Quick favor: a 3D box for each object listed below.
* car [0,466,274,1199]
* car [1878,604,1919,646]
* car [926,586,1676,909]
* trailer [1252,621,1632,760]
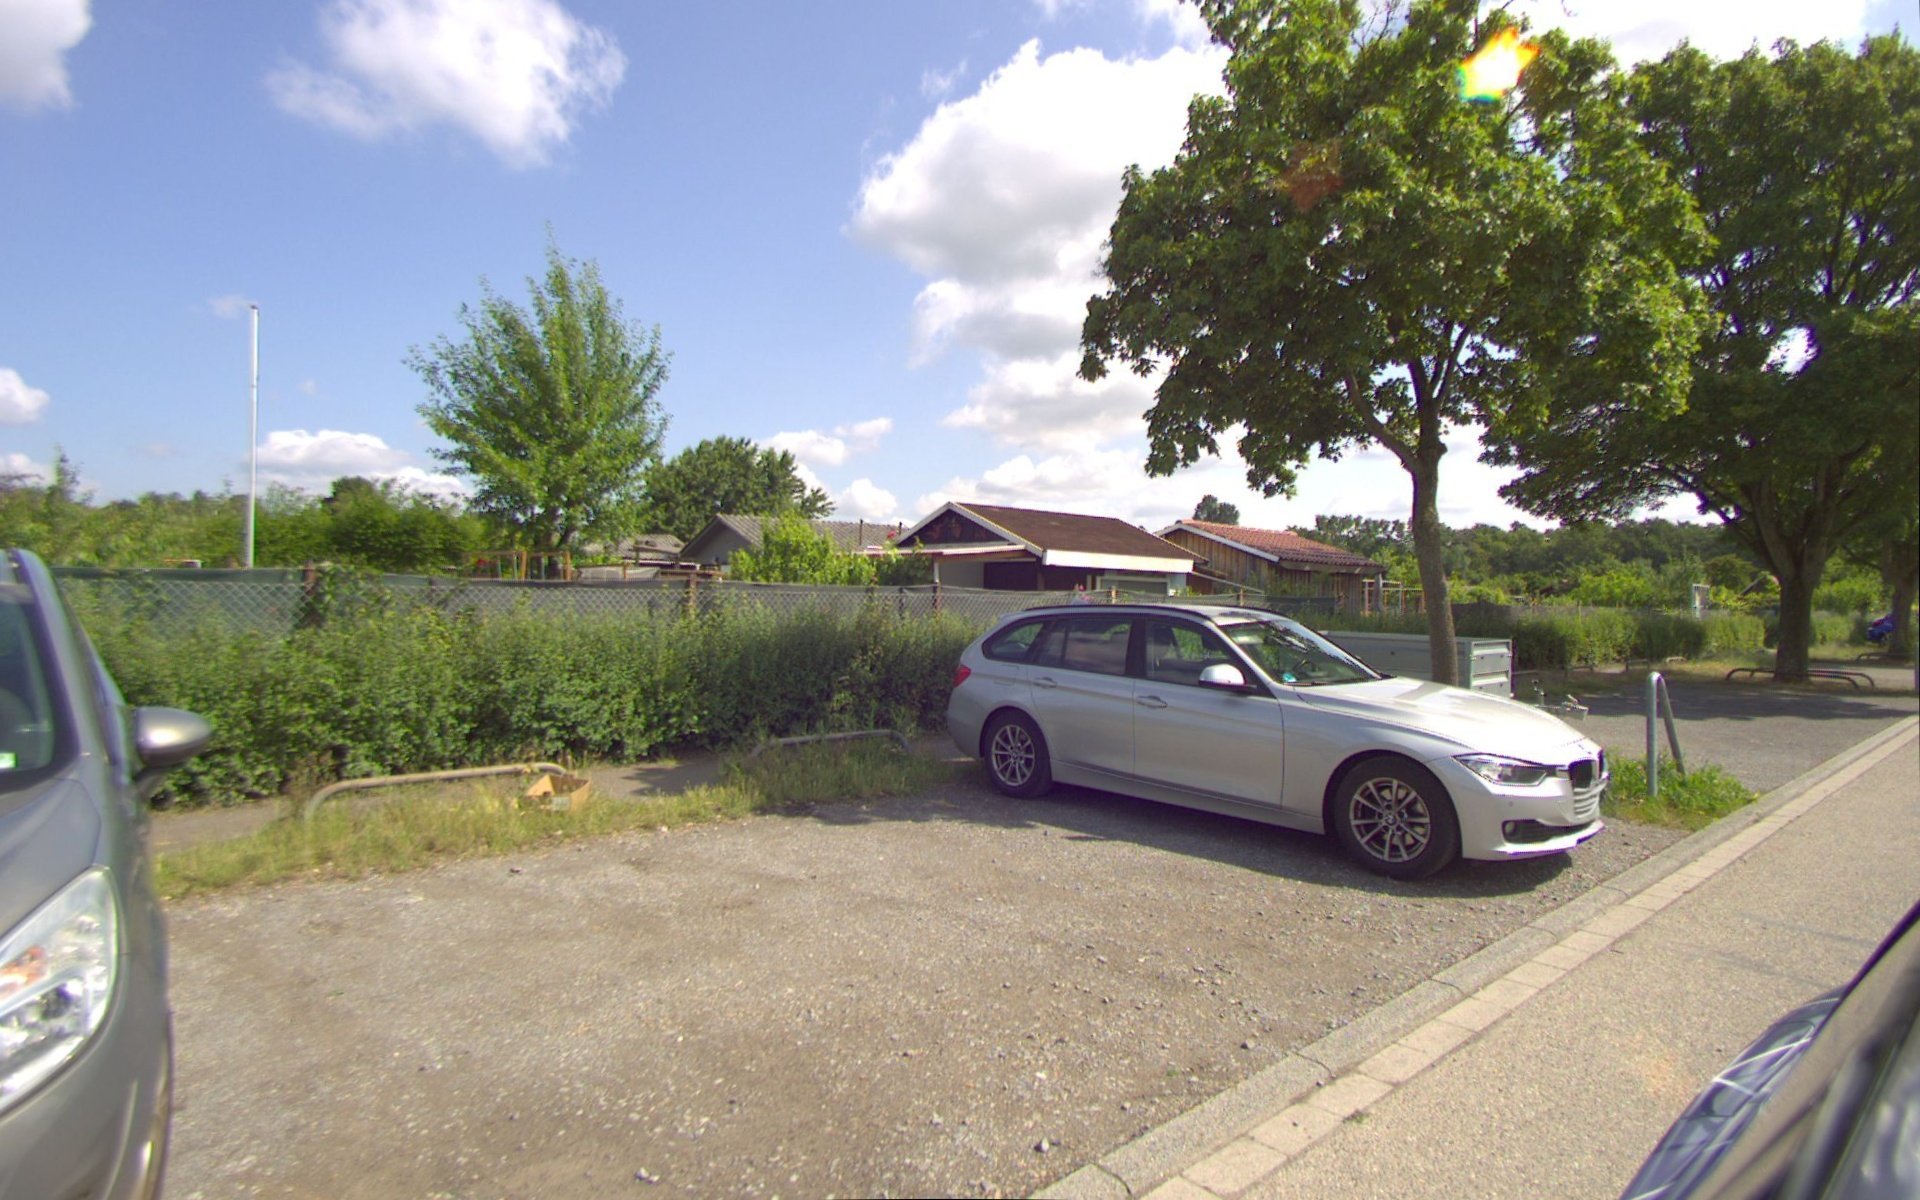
[{"bbox_3d":[-3.178,0.550,2.579,1.964,1.612,4.253,1,1,-40],"label":"car"},{"bbox_3d":[37.952,0.980,38.650,1.750,1.602,4.111,1,0,-42],"label":"car"},{"bbox_3d":[2.002,0.665,7.035,1.966,1.484,4.582,1,0,-43],"label":"car"},{"bbox_3d":[4.991,0.829,10.712,1.965,1.157,3.106,0,0,-40],"label":"trailer"}]
